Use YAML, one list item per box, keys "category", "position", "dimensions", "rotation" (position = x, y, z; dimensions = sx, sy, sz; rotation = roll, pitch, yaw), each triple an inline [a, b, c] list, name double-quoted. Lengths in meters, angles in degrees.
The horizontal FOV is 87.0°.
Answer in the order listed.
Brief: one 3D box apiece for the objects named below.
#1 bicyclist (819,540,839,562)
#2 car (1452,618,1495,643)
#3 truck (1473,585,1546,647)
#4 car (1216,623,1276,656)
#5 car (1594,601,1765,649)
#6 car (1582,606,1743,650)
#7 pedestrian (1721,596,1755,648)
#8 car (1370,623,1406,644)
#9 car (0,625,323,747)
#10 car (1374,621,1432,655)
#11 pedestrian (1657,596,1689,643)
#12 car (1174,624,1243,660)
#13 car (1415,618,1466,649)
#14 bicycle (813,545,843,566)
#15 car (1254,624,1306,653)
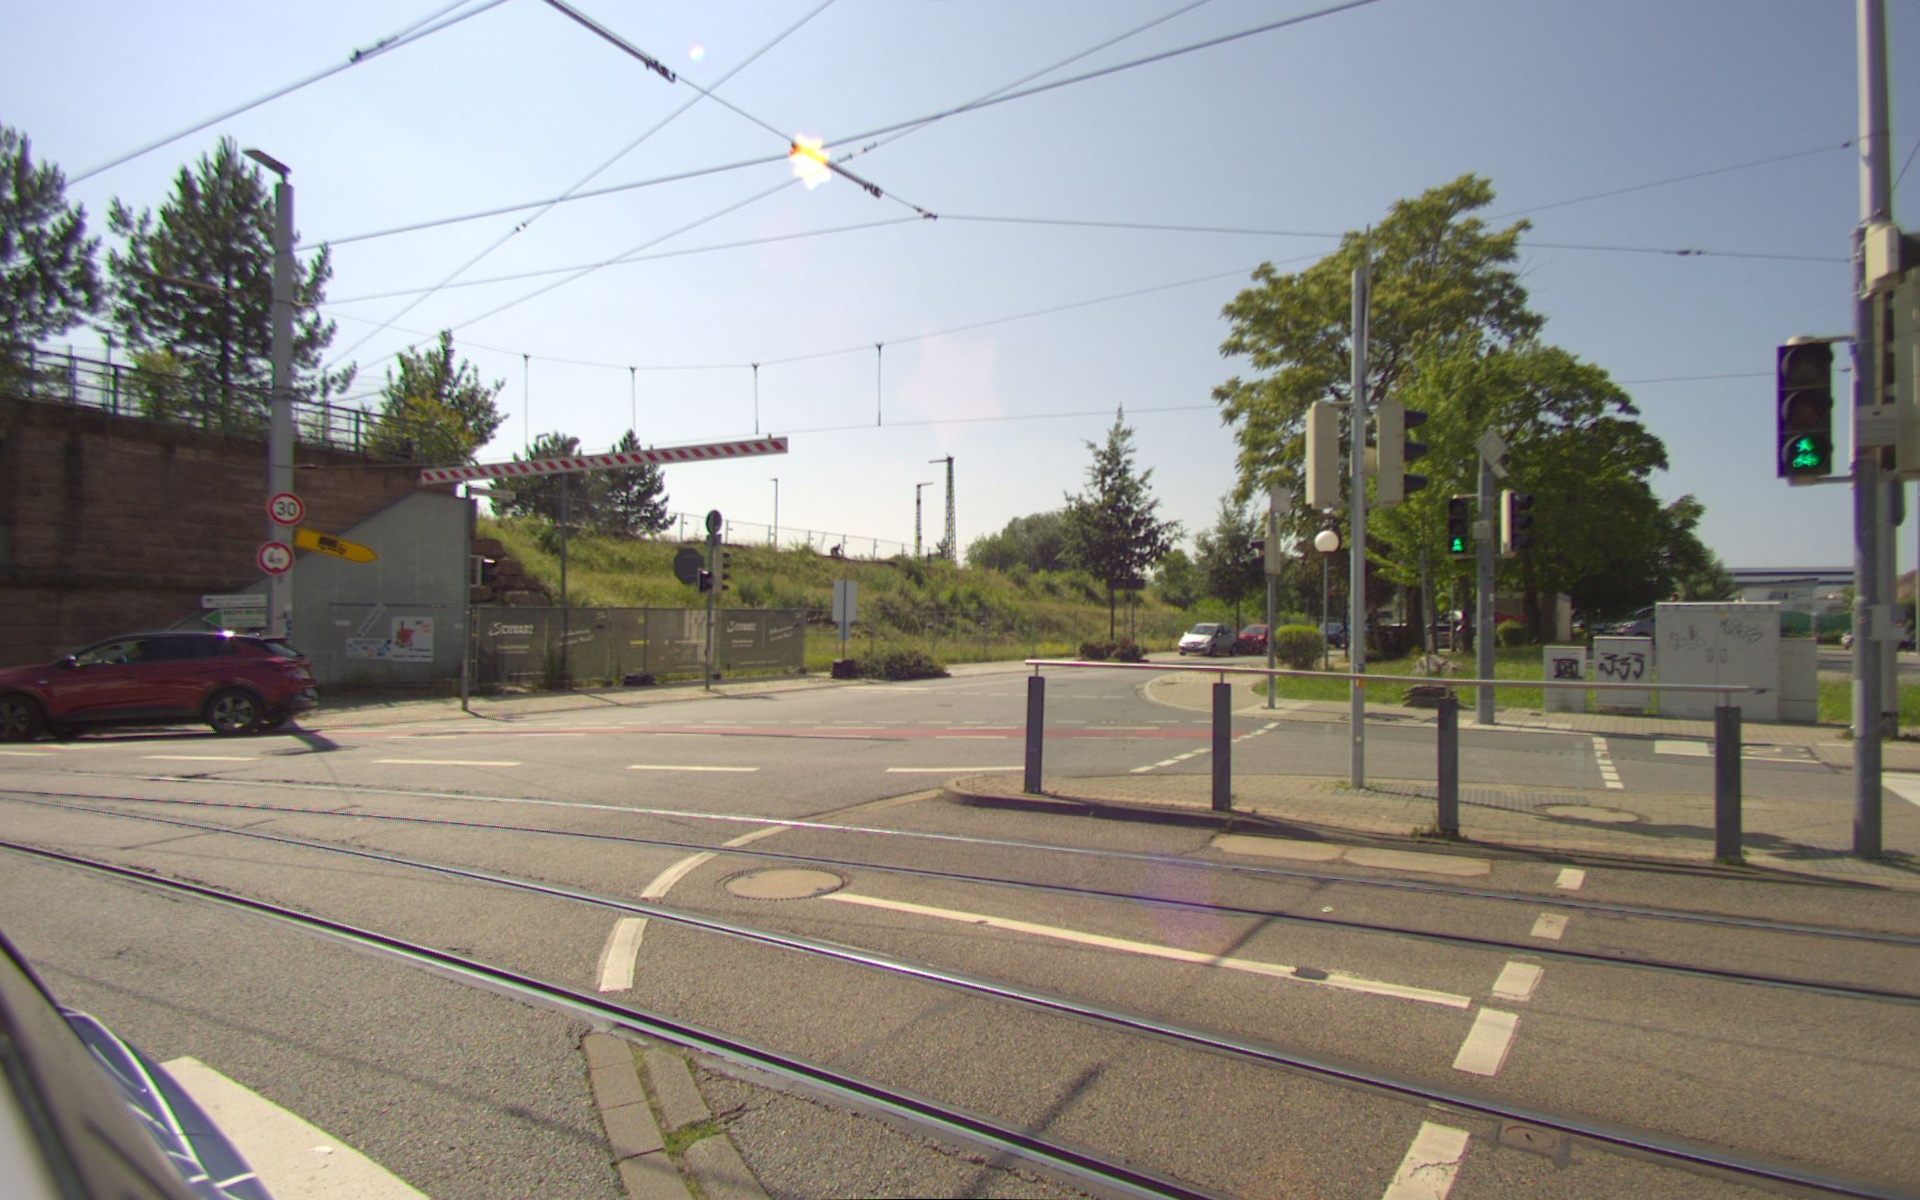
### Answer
- category: "bicyclist"
  position: [-8.920, -3.327, 68.982]
  dimensions: [0.948, 1.399, 1.053]
  rotation: [-3, -2, 27]
- category: "car"
  position: [32.246, 1.921, 63.515]
  dimensions: [1.811, 1.527, 3.953]
  rotation: [-3, -3, 34]
- category: "truck"
  position: [40.059, 1.253, 73.551]
  dimensions: [3.349, 4.175, 9.163]
  rotation: [-3, -3, 36]
- category: "car"
  position: [15.273, 2.084, 53.911]
  dimensions: [1.845, 1.628, 3.952]
  rotation: [1, -1, 36]
- category: "car"
  position: [22.594, 0.819, 31.938]
  dimensions: [3.953, 1.348, 1.710]
  rotation: [-2, -3, 15]
- category: "car"
  position: [27.093, 1.103, 39.175]
  dimensions: [4.753, 1.504, 1.851]
  rotation: [-2, -3, 3]
- category: "pedestrian"
  position: [23.350, 0.660, 30.367]
  dimensions: [0.744, 1.539, 0.566]
  rotation: [1, -3, -36]
- category: "car"
  position: [34.990, 2.730, 82.693]
  dimensions: [1.845, 1.628, 3.952]
  rotation: [0, -2, 36]
- category: "car"
  position: [-12.317, 1.246, 15.378]
  dimensions: [4.232, 1.616, 1.828]
  rotation: [-1, -3, -24]
- category: "car"
  position: [21.139, 1.786, 48.245]
  dimensions: [1.762, 1.504, 3.953]
  rotation: [-3, -3, 34]
- category: "pedestrian"
  position: [23.407, 0.638, 33.235]
  dimensions: [0.744, 1.539, 0.566]
  rotation: [1, -3, -32]
- category: "car"
  position: [12.464, 2.072, 50.638]
  dimensions: [1.845, 1.628, 4.317]
  rotation: [2, -1, 36]
- category: "car"
  position: [25.654, 1.790, 53.937]
  dimensions: [1.811, 1.527, 3.953]
  rotation: [-3, -3, 34]
- category: "bicycle"
  position: [-8.953, -3.015, 68.875]
  dimensions: [0.932, 1.222, 2.154]
  rotation: [-3, -2, 27]
- category: "car"
  position: [19.090, 2.300, 60.270]
  dimensions: [1.845, 1.628, 3.952]
  rotation: [1, -1, 36]
